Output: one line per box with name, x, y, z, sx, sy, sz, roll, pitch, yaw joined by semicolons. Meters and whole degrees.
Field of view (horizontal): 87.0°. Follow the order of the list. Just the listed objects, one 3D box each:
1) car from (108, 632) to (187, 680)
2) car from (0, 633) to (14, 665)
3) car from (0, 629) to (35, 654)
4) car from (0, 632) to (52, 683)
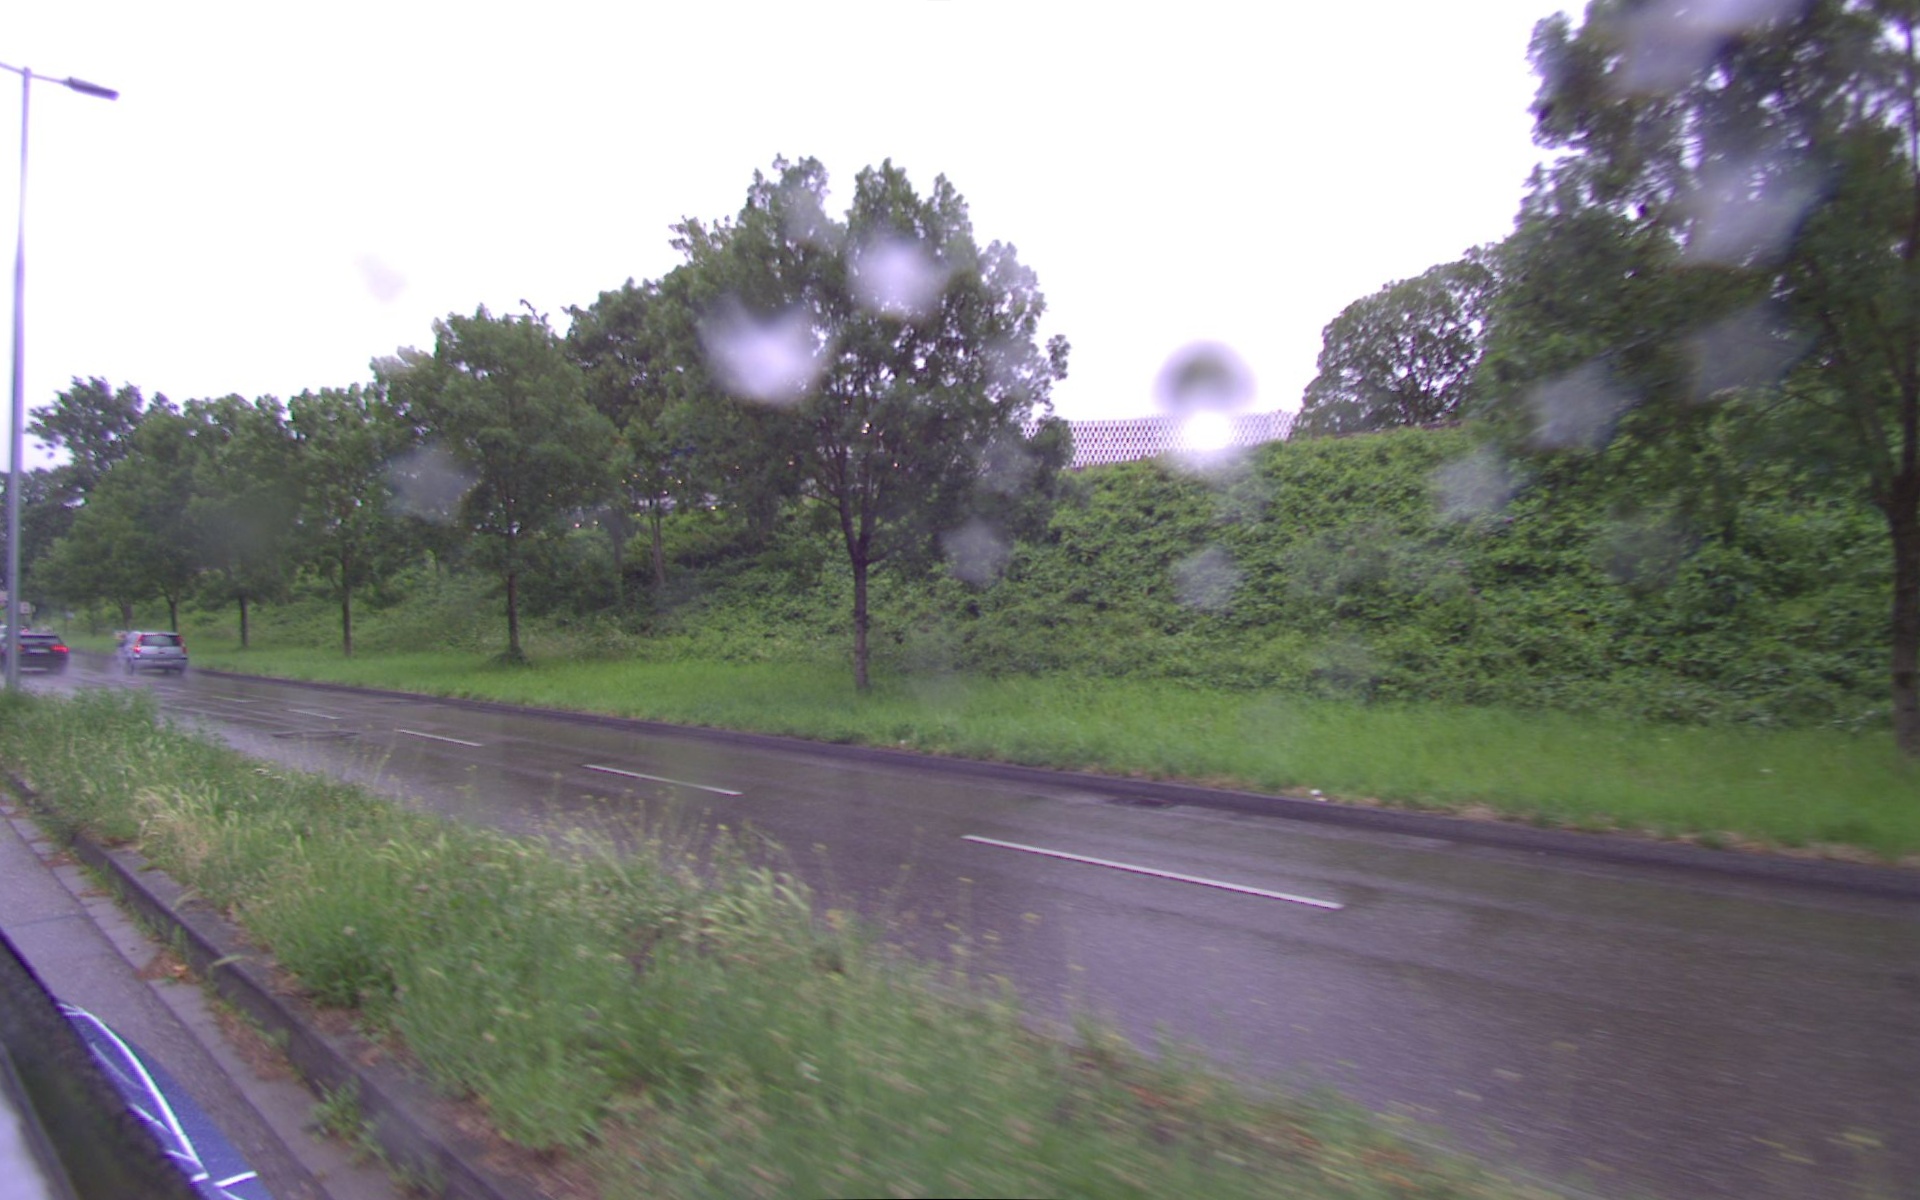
car;-29.621;2.000;36.880;3.847;1.630;1.677;-1;-2;43
car;-50.745;2.488;52.546;4.707;1.586;1.888;-1;-5;42
car;-60.529;2.646;64.520;4.438;1.513;1.816;-1;-4;42
car;-32.872;1.958;35.281;1.700;1.630;4.350;1;-1;-43
